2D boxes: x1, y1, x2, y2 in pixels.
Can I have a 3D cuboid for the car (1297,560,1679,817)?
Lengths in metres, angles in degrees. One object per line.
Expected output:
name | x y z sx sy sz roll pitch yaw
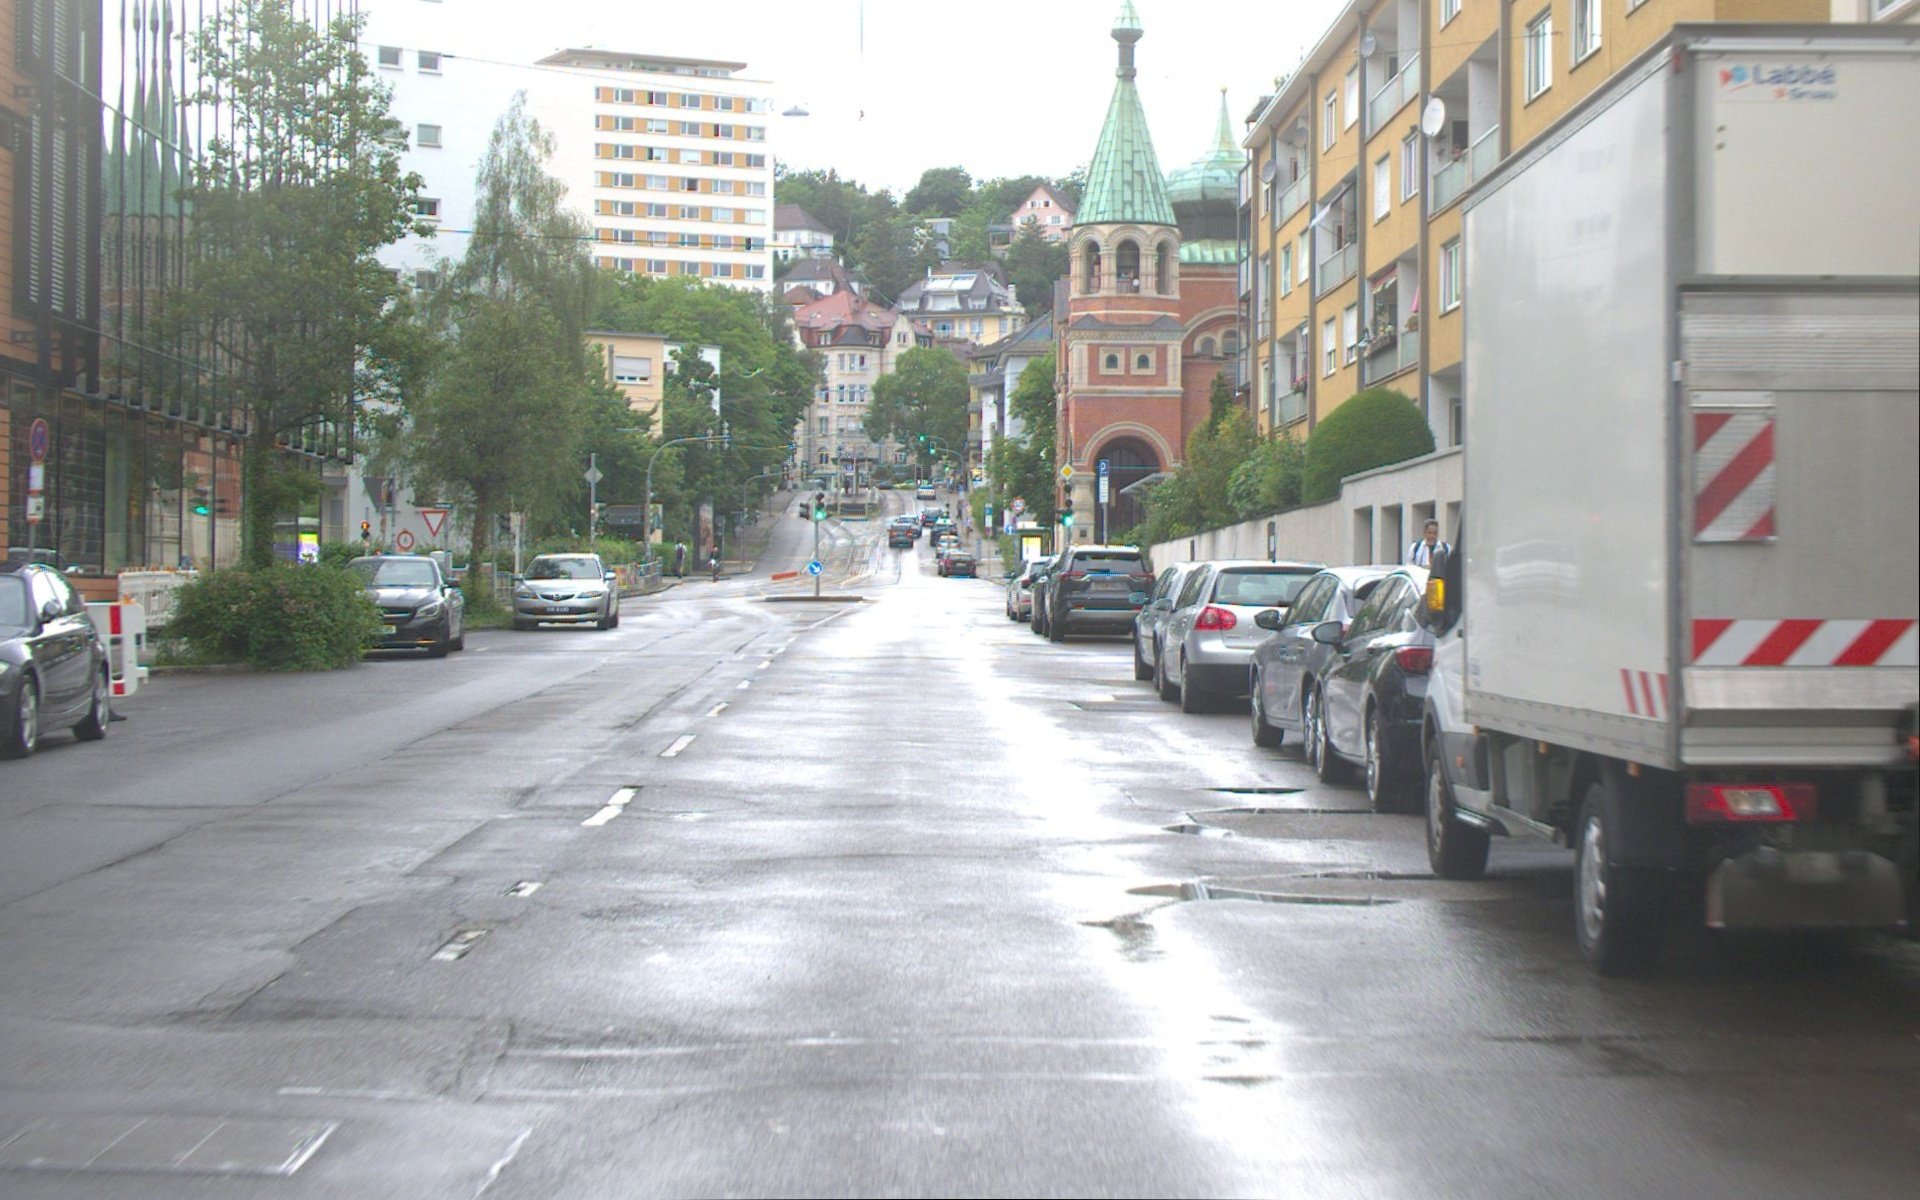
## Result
car | 3.161 0.476 21.307 1.663 1.416 4.042 0 1 -1

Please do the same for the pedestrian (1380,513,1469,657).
pedestrian | 5.720 -0.189 42.310 0.767 1.726 0.742 0 3 37

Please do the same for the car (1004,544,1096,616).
car | 1.985 -0.458 76.949 1.817 1.517 4.076 2 1 -1

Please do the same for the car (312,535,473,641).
car | -8.126 -0.167 49.572 1.803 1.445 4.658 0 0 -3

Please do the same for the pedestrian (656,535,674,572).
pedestrian | -14.988 -2.364 174.802 0.887 1.886 0.923 0 1 -7

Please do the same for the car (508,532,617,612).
car | -7.478 -0.514 64.964 1.709 1.445 4.295 0 0 -2

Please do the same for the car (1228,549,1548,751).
car | 3.160 0.365 26.084 1.663 1.416 3.922 0 0 -4

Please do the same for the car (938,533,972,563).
car | -0.278 -2.944 194.443 1.732 1.648 4.000 1 1 2

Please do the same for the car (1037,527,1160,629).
car | 2.358 -0.395 59.534 1.817 1.647 4.076 2 1 -1

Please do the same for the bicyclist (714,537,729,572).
bicyclist | -11.210 -2.142 161.607 0.677 1.656 0.650 0 0 -4

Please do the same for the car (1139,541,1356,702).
car | 2.781 0.190 34.008 1.663 1.497 3.922 0 0 -2

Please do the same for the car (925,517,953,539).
car | -1.524 -5.190 247.004 1.908 1.505 4.000 2 1 -1

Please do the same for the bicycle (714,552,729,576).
bicycle | -11.210 -1.697 161.593 0.677 1.104 1.800 0 0 -4

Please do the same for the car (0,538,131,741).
car | -7.412 0.269 25.447 1.723 1.371 4.344 -1 0 -3

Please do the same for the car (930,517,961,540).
car | -0.982 -4.793 230.752 1.892 1.505 4.000 2 1 -1

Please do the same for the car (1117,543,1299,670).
car | 2.827 0.058 39.895 1.663 1.395 3.922 0 0 -2

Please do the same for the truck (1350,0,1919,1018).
truck | 3.252 -0.350 13.857 2.469 3.161 7.036 0 0 -1

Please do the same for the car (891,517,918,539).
car | -3.954 -5.100 244.427 1.908 1.505 4.000 1 1 -1
